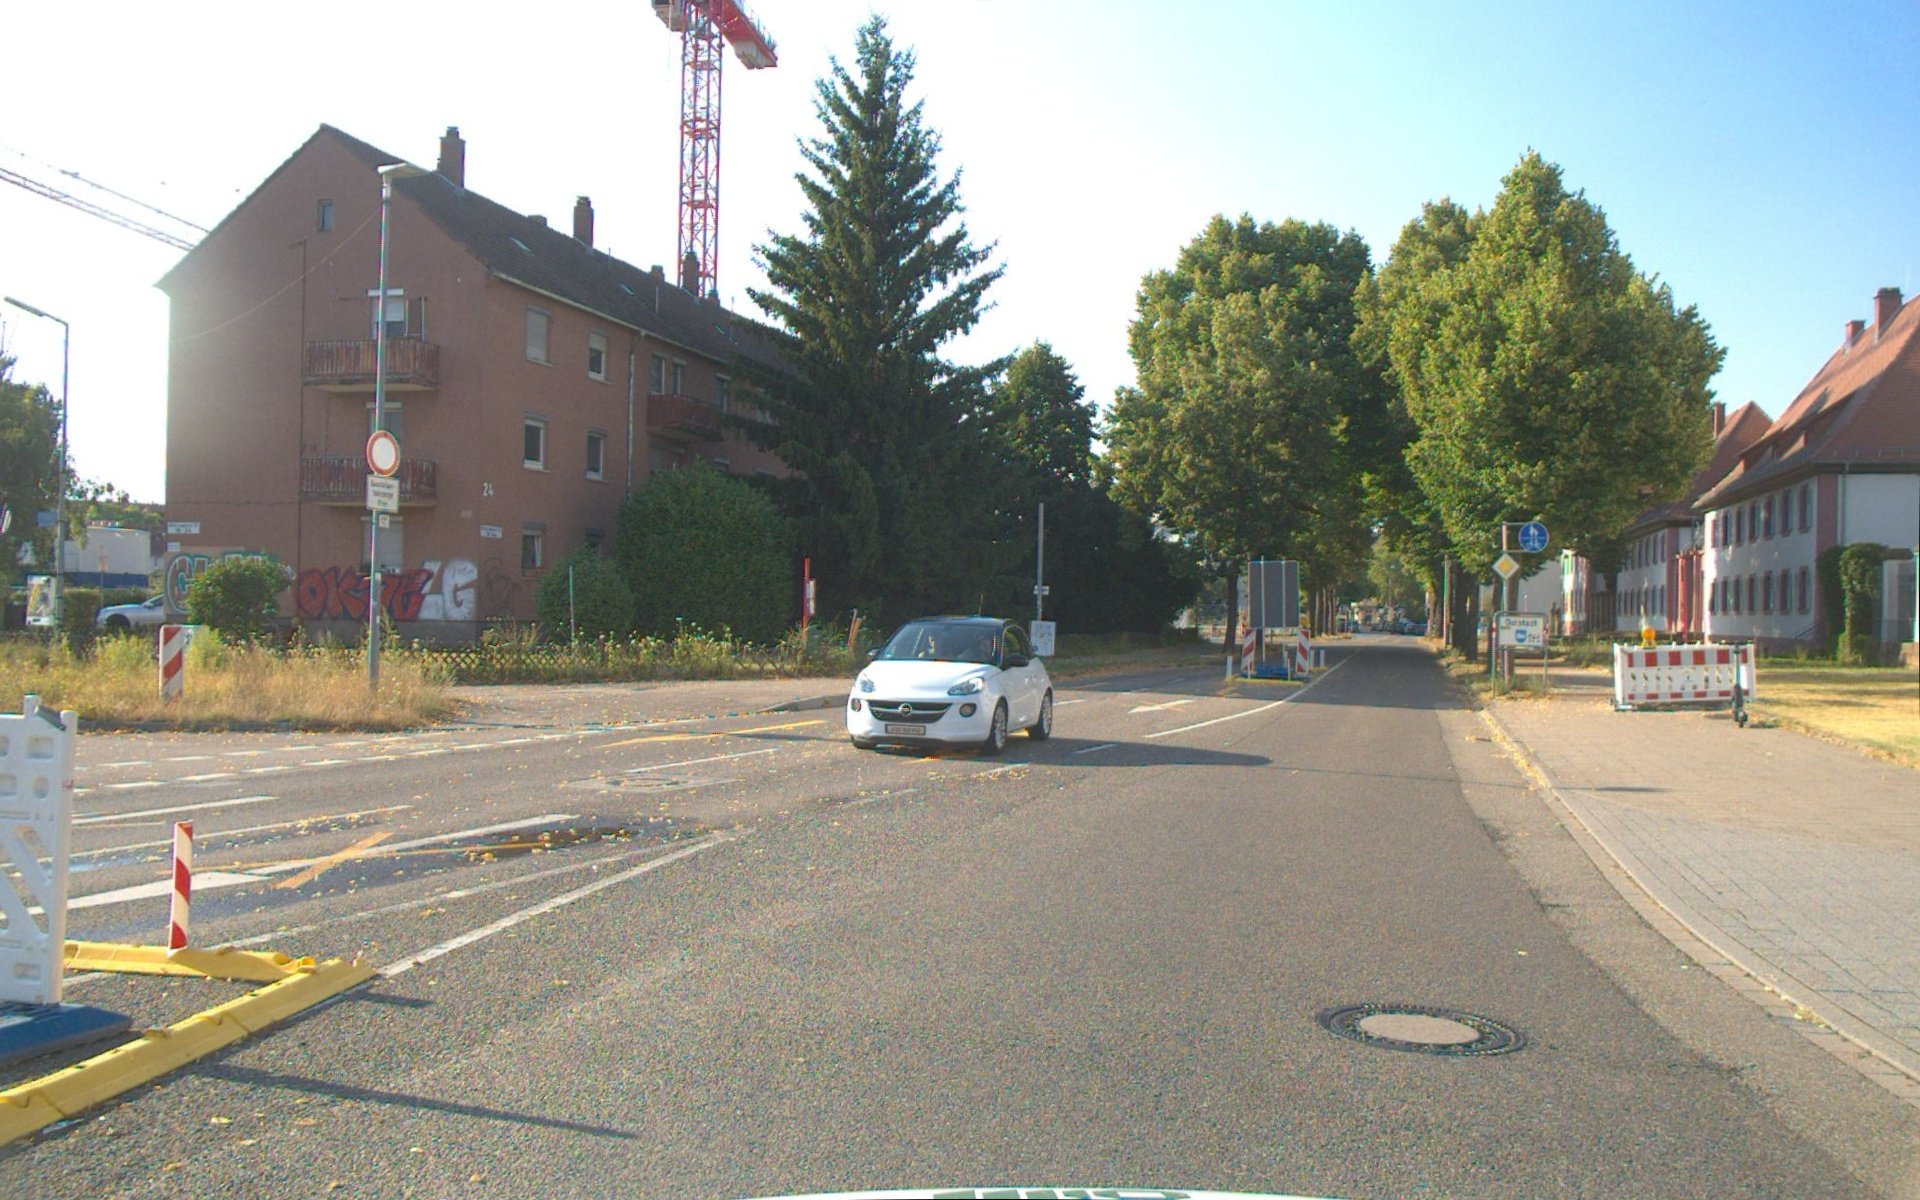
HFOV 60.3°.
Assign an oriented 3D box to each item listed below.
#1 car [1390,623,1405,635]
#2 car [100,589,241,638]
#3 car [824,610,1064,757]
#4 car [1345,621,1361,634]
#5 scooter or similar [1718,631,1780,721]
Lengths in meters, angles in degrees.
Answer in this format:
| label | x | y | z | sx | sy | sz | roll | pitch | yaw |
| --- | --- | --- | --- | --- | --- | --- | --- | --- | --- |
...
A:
| label | x | y | z | sx | sy | sz | roll | pitch | yaw |
| --- | --- | --- | --- | --- | --- | --- | --- | --- | --- |
| car | 58.979 | 3.942 | 223.127 | 1.677 | 1.512 | 4.003 | 0 | -2 | 11 |
| car | -26.096 | 0.443 | 54.802 | 3.924 | 1.557 | 1.990 | 1 | 0 | -17 |
| car | -0.075 | 0.870 | 18.867 | 1.722 | 1.446 | 3.627 | 2 | 0 | 16 |
| car | 53.745 | 3.723 | 226.264 | 1.951 | 1.717 | 4.003 | 0 | -1 | 10 |
| scooter or similar | 11.981 | 1.140 | 25.148 | 0.547 | 1.315 | 1.464 | -2 | -2 | 15 |
